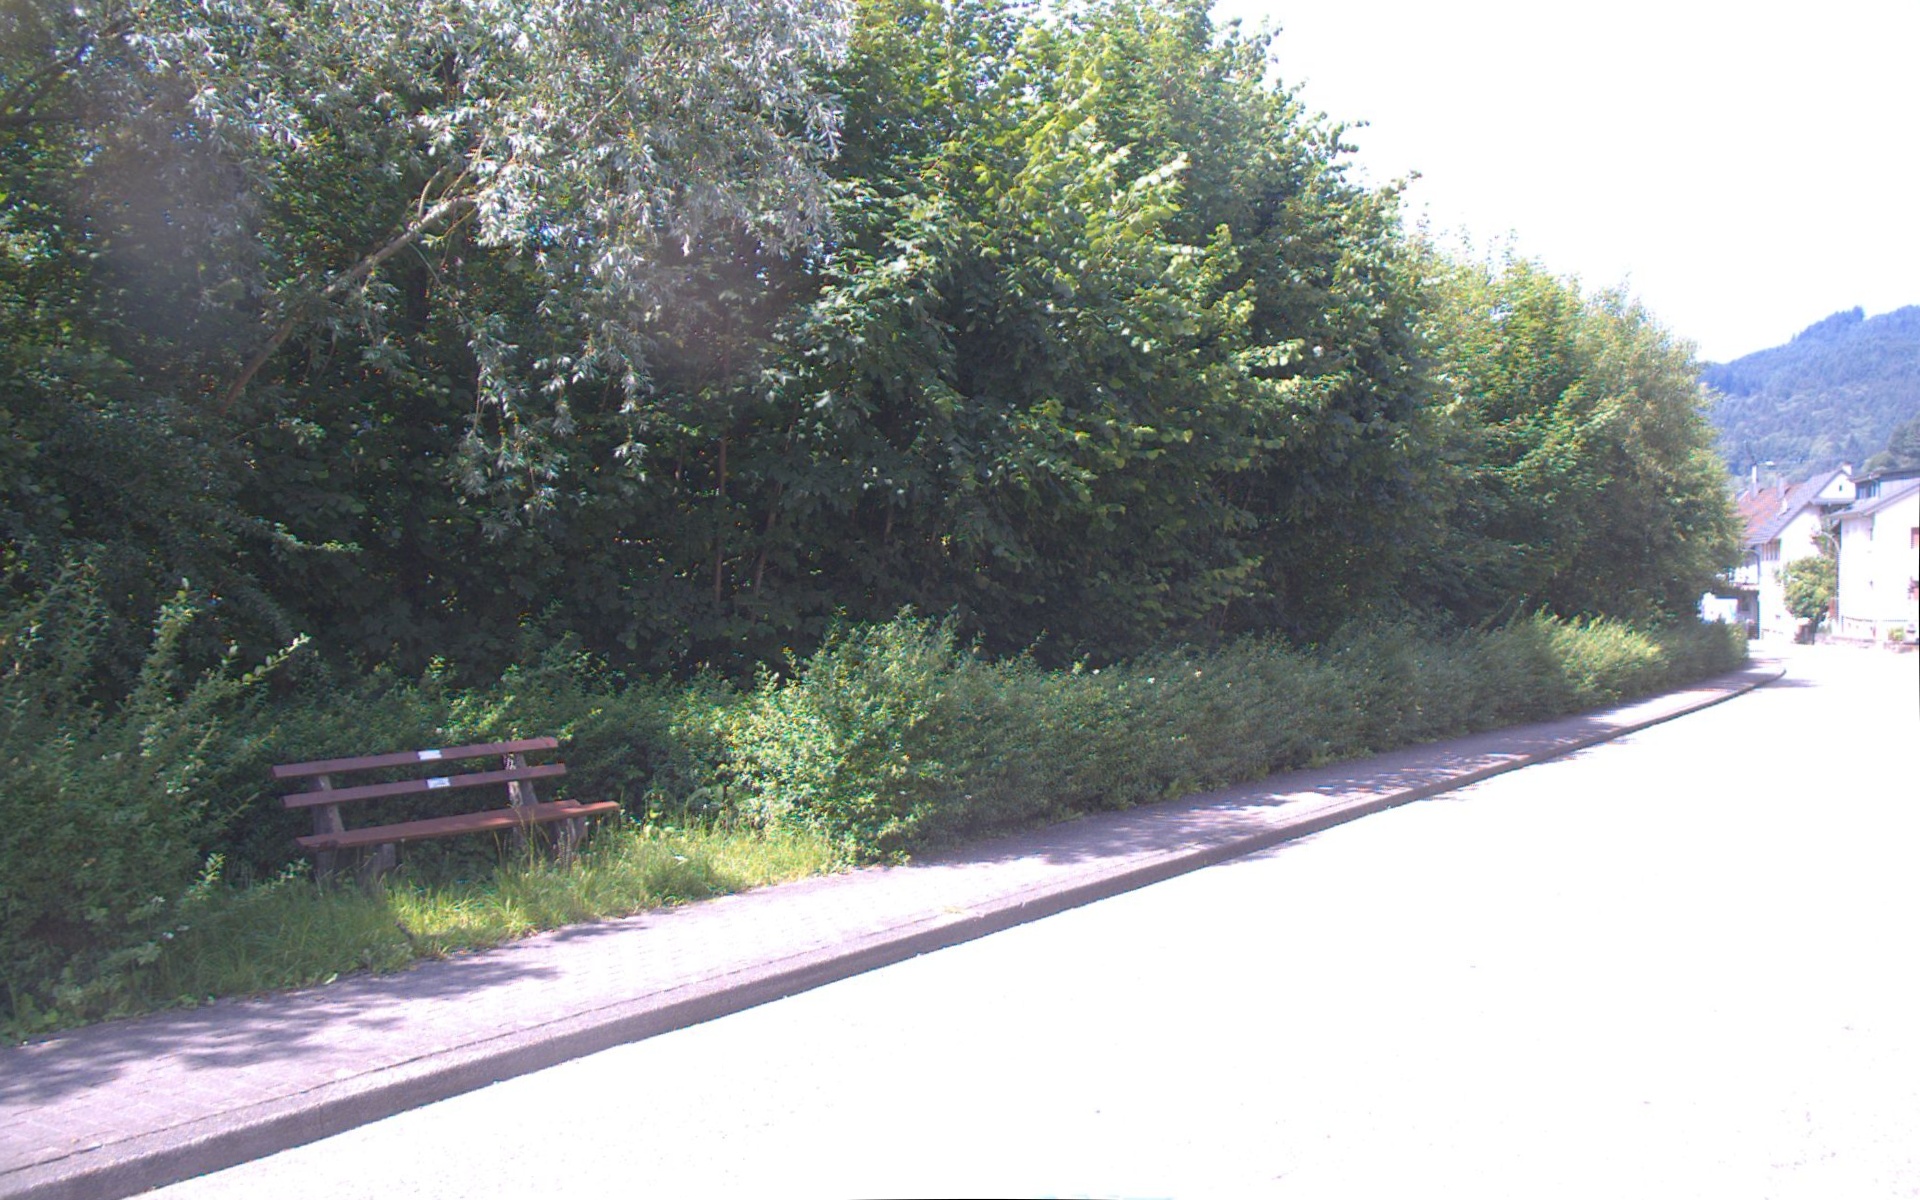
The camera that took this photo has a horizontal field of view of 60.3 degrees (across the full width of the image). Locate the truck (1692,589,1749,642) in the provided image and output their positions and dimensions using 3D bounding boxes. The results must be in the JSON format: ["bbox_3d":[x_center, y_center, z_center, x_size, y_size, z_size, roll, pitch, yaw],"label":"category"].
[{"bbox_3d":[61.784,1.347,134.570,3.294,3.848,8.440,-5,-4,20],"label":"truck"}]
